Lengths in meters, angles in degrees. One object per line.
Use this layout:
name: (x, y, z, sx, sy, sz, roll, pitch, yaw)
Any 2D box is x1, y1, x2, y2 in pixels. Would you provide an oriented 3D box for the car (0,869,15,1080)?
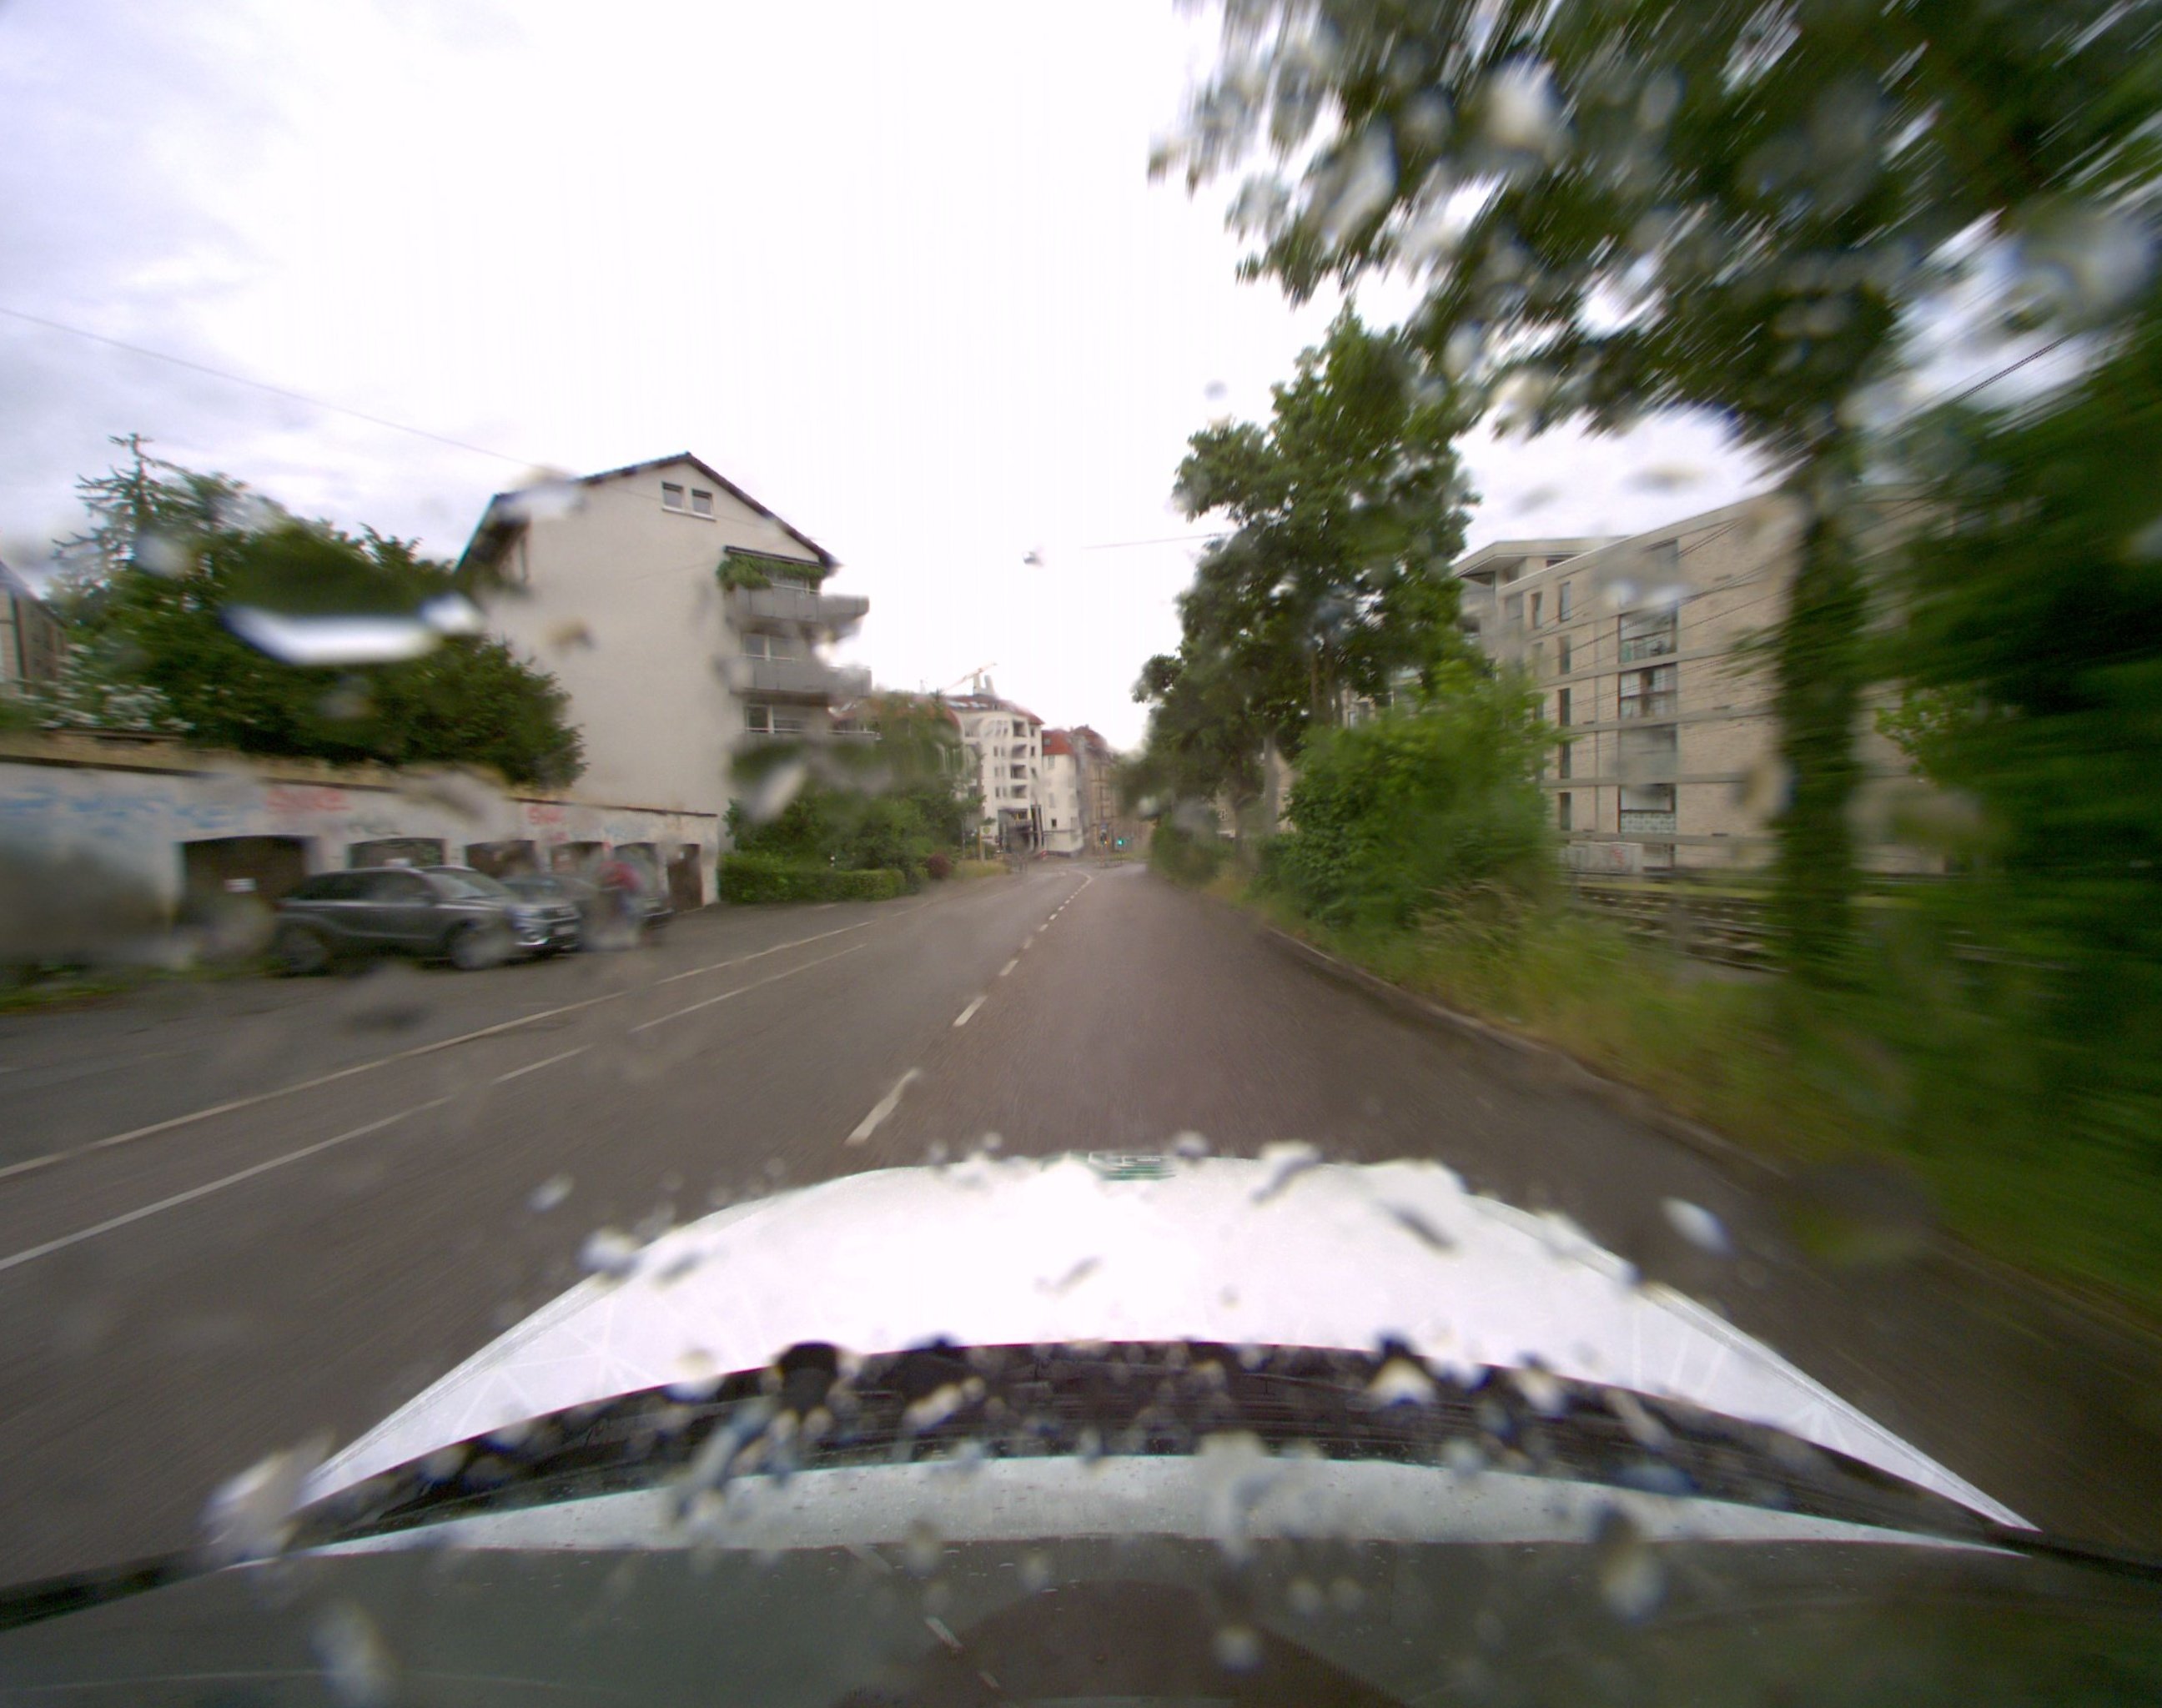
car: (-10.480, 0.998, 5.377, 4.433, 1.602, 1.815, -1, 1, 1)

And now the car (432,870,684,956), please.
car: (-9.831, 1.080, 15.499, 3.616, 1.407, 1.785, -2, 1, 3)

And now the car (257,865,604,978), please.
car: (-10.228, 1.012, 13.073, 3.976, 1.559, 1.879, -1, -1, -1)

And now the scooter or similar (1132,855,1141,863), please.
scooter or similar: (6.043, 0.526, 88.497, 0.480, 0.761, 1.338, -2, 0, 30)
